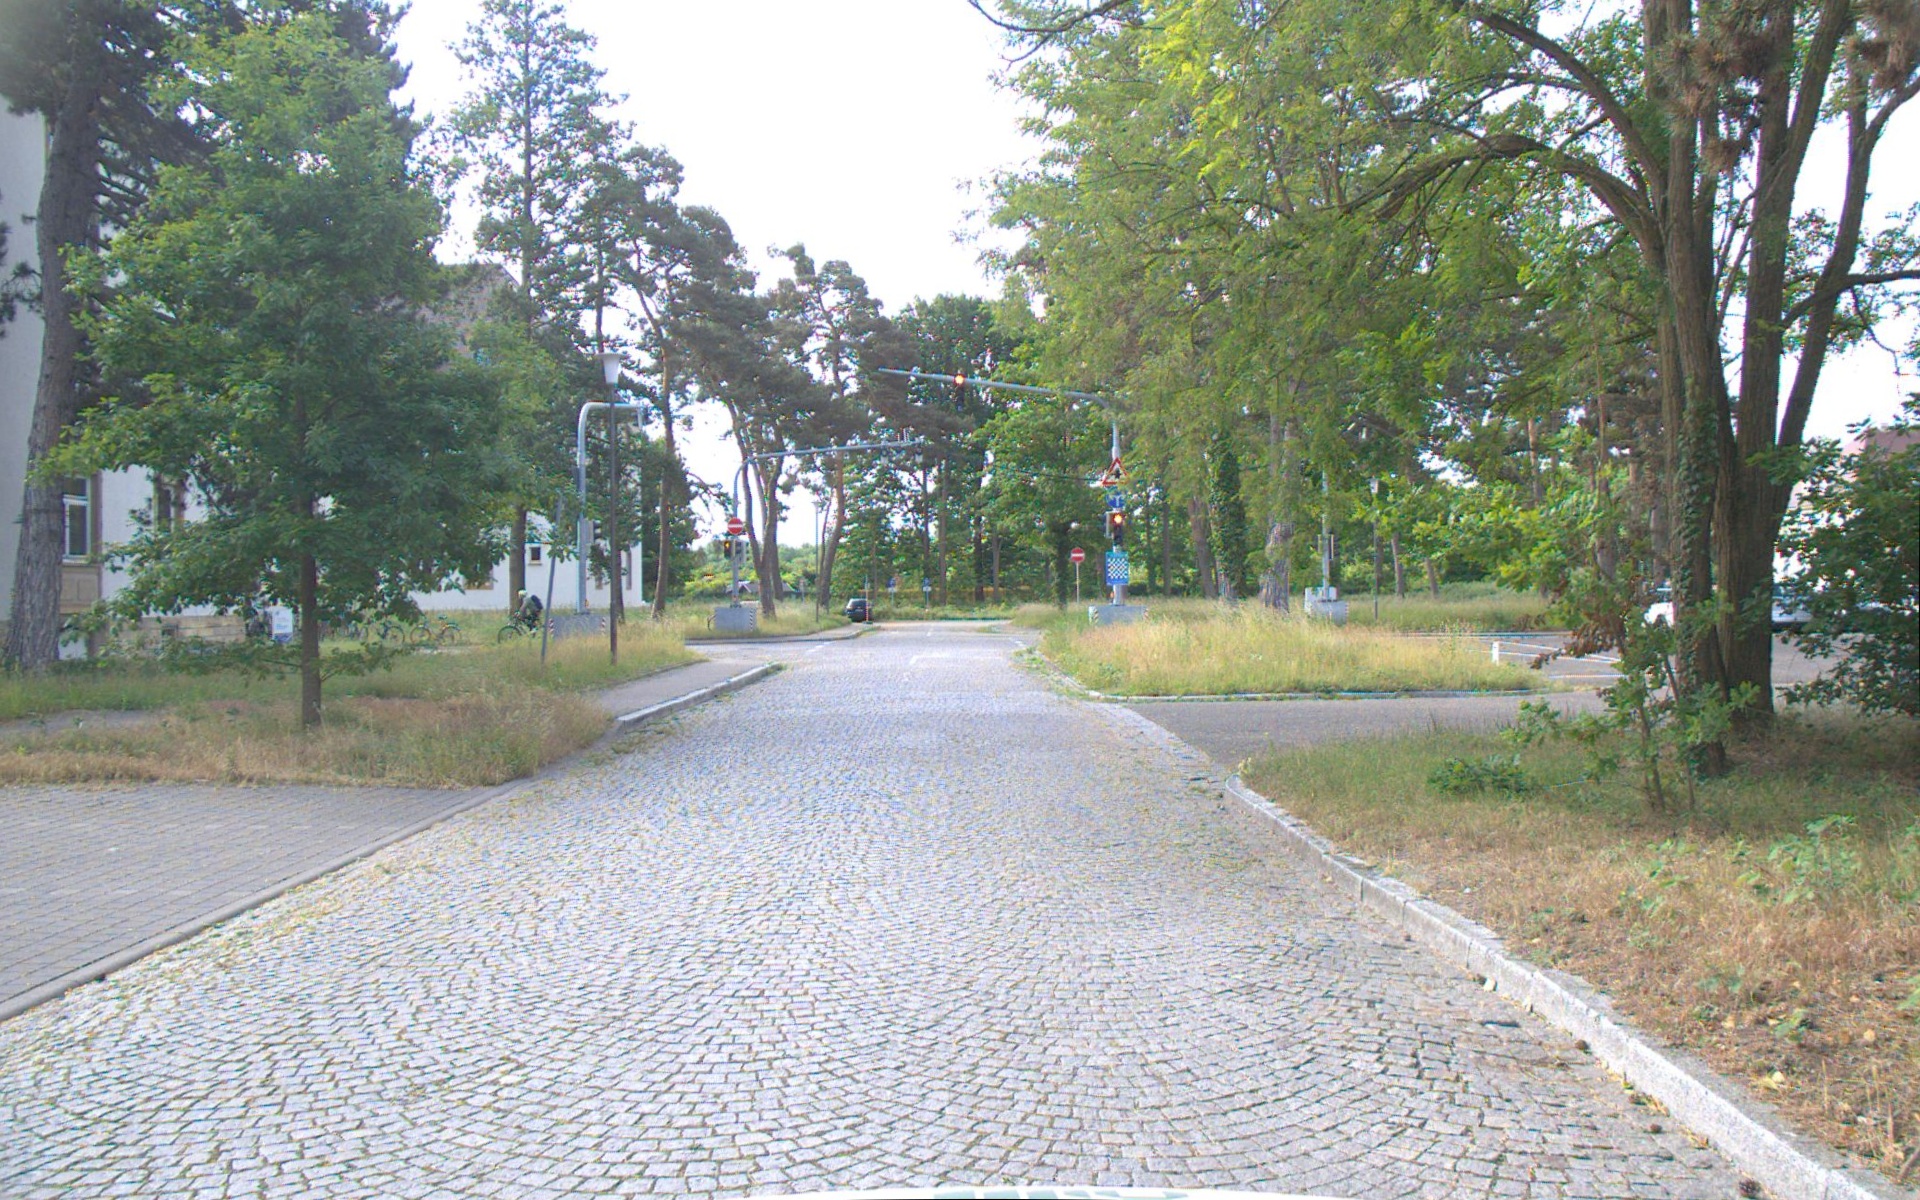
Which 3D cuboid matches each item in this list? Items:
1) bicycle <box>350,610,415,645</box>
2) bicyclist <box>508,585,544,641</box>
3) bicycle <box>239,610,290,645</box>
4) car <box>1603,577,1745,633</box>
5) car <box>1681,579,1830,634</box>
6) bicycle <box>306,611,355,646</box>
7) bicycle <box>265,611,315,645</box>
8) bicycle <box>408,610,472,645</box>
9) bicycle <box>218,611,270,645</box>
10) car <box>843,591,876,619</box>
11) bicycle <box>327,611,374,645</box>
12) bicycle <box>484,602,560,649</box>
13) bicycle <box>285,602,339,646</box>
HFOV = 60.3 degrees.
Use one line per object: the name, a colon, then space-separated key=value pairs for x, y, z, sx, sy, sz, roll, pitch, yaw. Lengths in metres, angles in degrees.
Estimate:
bicycle: x=-18.728 y=0.887 z=53.636 sx=1.818 sy=1.095 sz=0.738 roll=-1 pitch=0 yaw=1
bicyclist: x=-13.517 y=0.410 z=51.499 sx=0.908 sy=1.727 sz=0.950 roll=0 pitch=-1 yaw=-25
bicycle: x=-22.981 y=0.907 z=54.712 sx=0.721 sy=1.095 sz=2.273 roll=-1 pitch=0 yaw=0
car: x=20.680 y=0.192 z=48.093 sx=1.954 sy=1.507 sz=4.421 roll=-1 pitch=-1 yaw=-4
car: x=23.145 y=0.225 z=48.312 sx=1.954 sy=1.507 sz=4.421 roll=-1 pitch=-1 yaw=-4
bicycle: x=-20.831 y=0.926 z=54.774 sx=0.721 sy=1.095 sz=2.273 roll=-1 pitch=0 yaw=0
bicycle: x=-22.353 y=0.925 z=55.215 sx=0.721 sy=1.095 sz=2.273 roll=-1 pitch=0 yaw=0
bicycle: x=-16.877 y=0.876 z=53.704 sx=1.818 sy=1.095 sz=0.831 roll=-1 pitch=0 yaw=1
bicycle: x=-23.700 y=0.912 z=54.773 sx=0.721 sy=1.095 sz=2.273 roll=-1 pitch=0 yaw=0
car: x=-6.749 y=0.323 z=111.195 sx=2.014 sy=1.878 sz=3.999 roll=-1 pitch=0 yaw=-2
bicycle: x=-20.203 y=0.912 z=54.864 sx=0.721 sy=1.095 sz=2.273 roll=-1 pitch=0 yaw=0
bicycle: x=-13.621 y=0.788 z=51.434 sx=2.150 sy=1.411 sz=0.932 roll=-1 pitch=0 yaw=-25
bicycle: x=-21.567 y=0.783 z=55.118 sx=0.721 sy=1.410 sz=2.711 roll=-1 pitch=0 yaw=0
